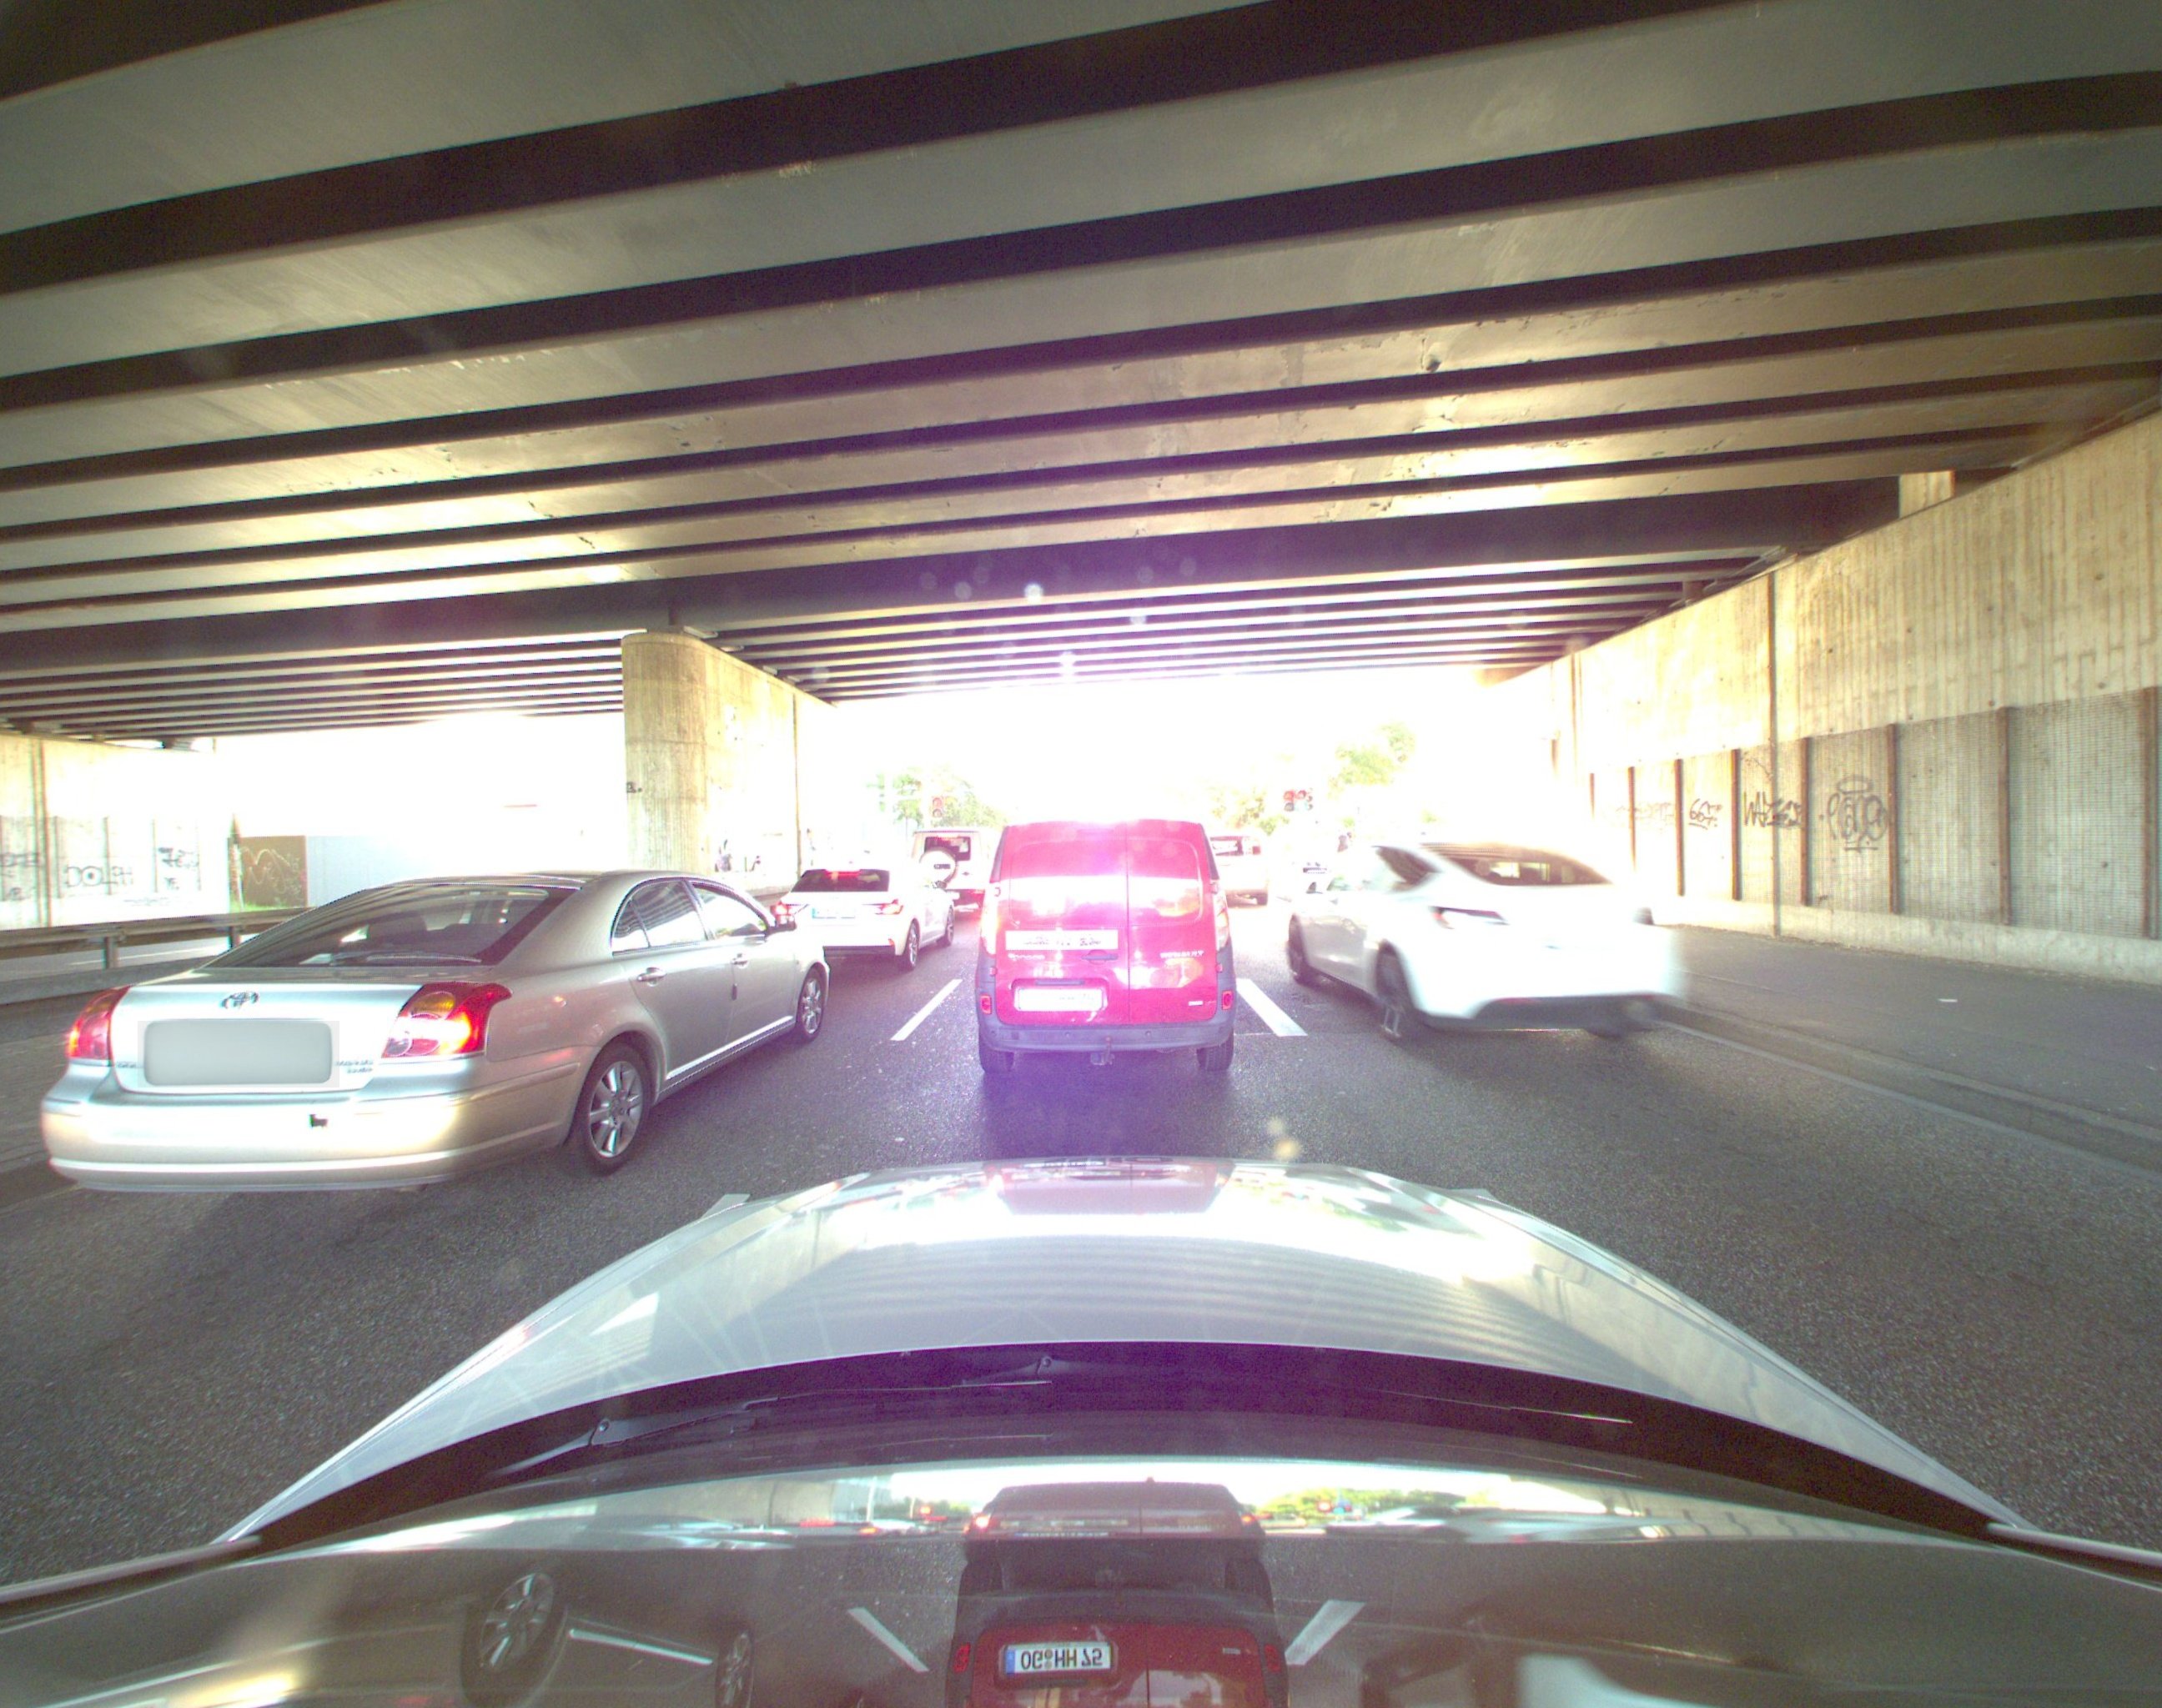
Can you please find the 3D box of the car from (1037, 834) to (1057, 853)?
[{"bbox_3d":[-3.711,-1.121,89.756,1.986,2.014,4.001,0,0,2],"label":"car"}]

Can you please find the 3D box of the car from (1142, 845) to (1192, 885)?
[{"bbox_3d":[3.332,0.398,32.150,1.739,1.456,3.718,0,0,2],"label":"car"}]

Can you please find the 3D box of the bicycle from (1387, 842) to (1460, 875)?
[{"bbox_3d":[12.221,0.153,29.069,2.466,1.146,0.763,-1,0,-16],"label":"bicycle"}]

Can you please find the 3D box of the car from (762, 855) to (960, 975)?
[{"bbox_3d":[-2.926,0.739,11.672,1.686,1.410,3.815,0,0,2],"label":"car"}]

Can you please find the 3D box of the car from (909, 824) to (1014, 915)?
[{"bbox_3d":[-2.680,0.329,19.082,1.807,1.904,3.814,0,0,1],"label":"car"}]

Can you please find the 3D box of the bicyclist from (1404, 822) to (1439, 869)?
[{"bbox_3d":[12.152,-0.285,29.062,0.885,1.655,0.745,0,-1,-15],"label":"bicyclist"}]

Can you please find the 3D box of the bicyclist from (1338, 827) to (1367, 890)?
[{"bbox_3d":[7.212,0.119,21.640,0.673,1.629,0.646,0,-1,12],"label":"bicyclist"}]

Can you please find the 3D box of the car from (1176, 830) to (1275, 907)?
[{"bbox_3d":[3.742,0.323,21.899,1.891,1.836,4.836,0,1,1],"label":"car"}]

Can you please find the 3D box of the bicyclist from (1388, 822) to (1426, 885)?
[{"bbox_3d":[8.278,-0.007,20.706,0.666,1.561,0.736,-2,-1,5],"label":"bicyclist"}]

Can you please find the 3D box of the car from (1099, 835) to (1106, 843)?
[{"bbox_3d":[5.853,-4.004,220.862,1.986,2.014,4.001,0,0,2],"label":"car"}]

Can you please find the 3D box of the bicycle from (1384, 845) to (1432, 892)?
[{"bbox_3d":[8.296,0.361,20.706,0.677,1.113,1.606,-2,-1,5],"label":"bicycle"}]

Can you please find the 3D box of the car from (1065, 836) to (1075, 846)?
[{"bbox_3d":[-2.263,-2.574,165.569,1.741,2.014,3.846,0,0,2],"label":"car"}]

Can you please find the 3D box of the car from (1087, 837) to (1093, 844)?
[{"bbox_3d":[2.778,-4.133,247.421,1.922,2.014,3.915,0,0,2],"label":"car"}]

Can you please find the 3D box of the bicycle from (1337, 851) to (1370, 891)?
[{"bbox_3d":[7.199,0.438,21.542,0.672,1.024,1.534,0,0,12],"label":"bicycle"}]

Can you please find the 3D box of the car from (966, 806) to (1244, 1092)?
[{"bbox_3d":[0.210,0.588,7.063,1.712,1.764,4.002,0,0,2],"label":"car"}]

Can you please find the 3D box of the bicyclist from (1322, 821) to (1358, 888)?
[{"bbox_3d":[6.113,0.006,19.253,0.649,1.534,0.848,-1,0,7],"label":"bicyclist"}]

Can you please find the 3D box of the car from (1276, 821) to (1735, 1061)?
[{"bbox_3d":[3.343,0.543,7.602,1.987,1.551,4.420,-1,1,0],"label":"car"}]

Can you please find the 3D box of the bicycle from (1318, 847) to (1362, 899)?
[{"bbox_3d":[6.142,0.441,19.395,0.647,1.167,1.782,-1,0,7],"label":"bicycle"}]

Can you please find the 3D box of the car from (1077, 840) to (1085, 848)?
[{"bbox_3d":[-0.024,-2.465,202.921,1.986,2.014,4.001,0,0,2],"label":"car"}]

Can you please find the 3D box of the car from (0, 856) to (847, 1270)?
[{"bbox_3d":[-2.998,0.757,5.124,1.690,1.455,4.399,0,0,1],"label":"car"}]
